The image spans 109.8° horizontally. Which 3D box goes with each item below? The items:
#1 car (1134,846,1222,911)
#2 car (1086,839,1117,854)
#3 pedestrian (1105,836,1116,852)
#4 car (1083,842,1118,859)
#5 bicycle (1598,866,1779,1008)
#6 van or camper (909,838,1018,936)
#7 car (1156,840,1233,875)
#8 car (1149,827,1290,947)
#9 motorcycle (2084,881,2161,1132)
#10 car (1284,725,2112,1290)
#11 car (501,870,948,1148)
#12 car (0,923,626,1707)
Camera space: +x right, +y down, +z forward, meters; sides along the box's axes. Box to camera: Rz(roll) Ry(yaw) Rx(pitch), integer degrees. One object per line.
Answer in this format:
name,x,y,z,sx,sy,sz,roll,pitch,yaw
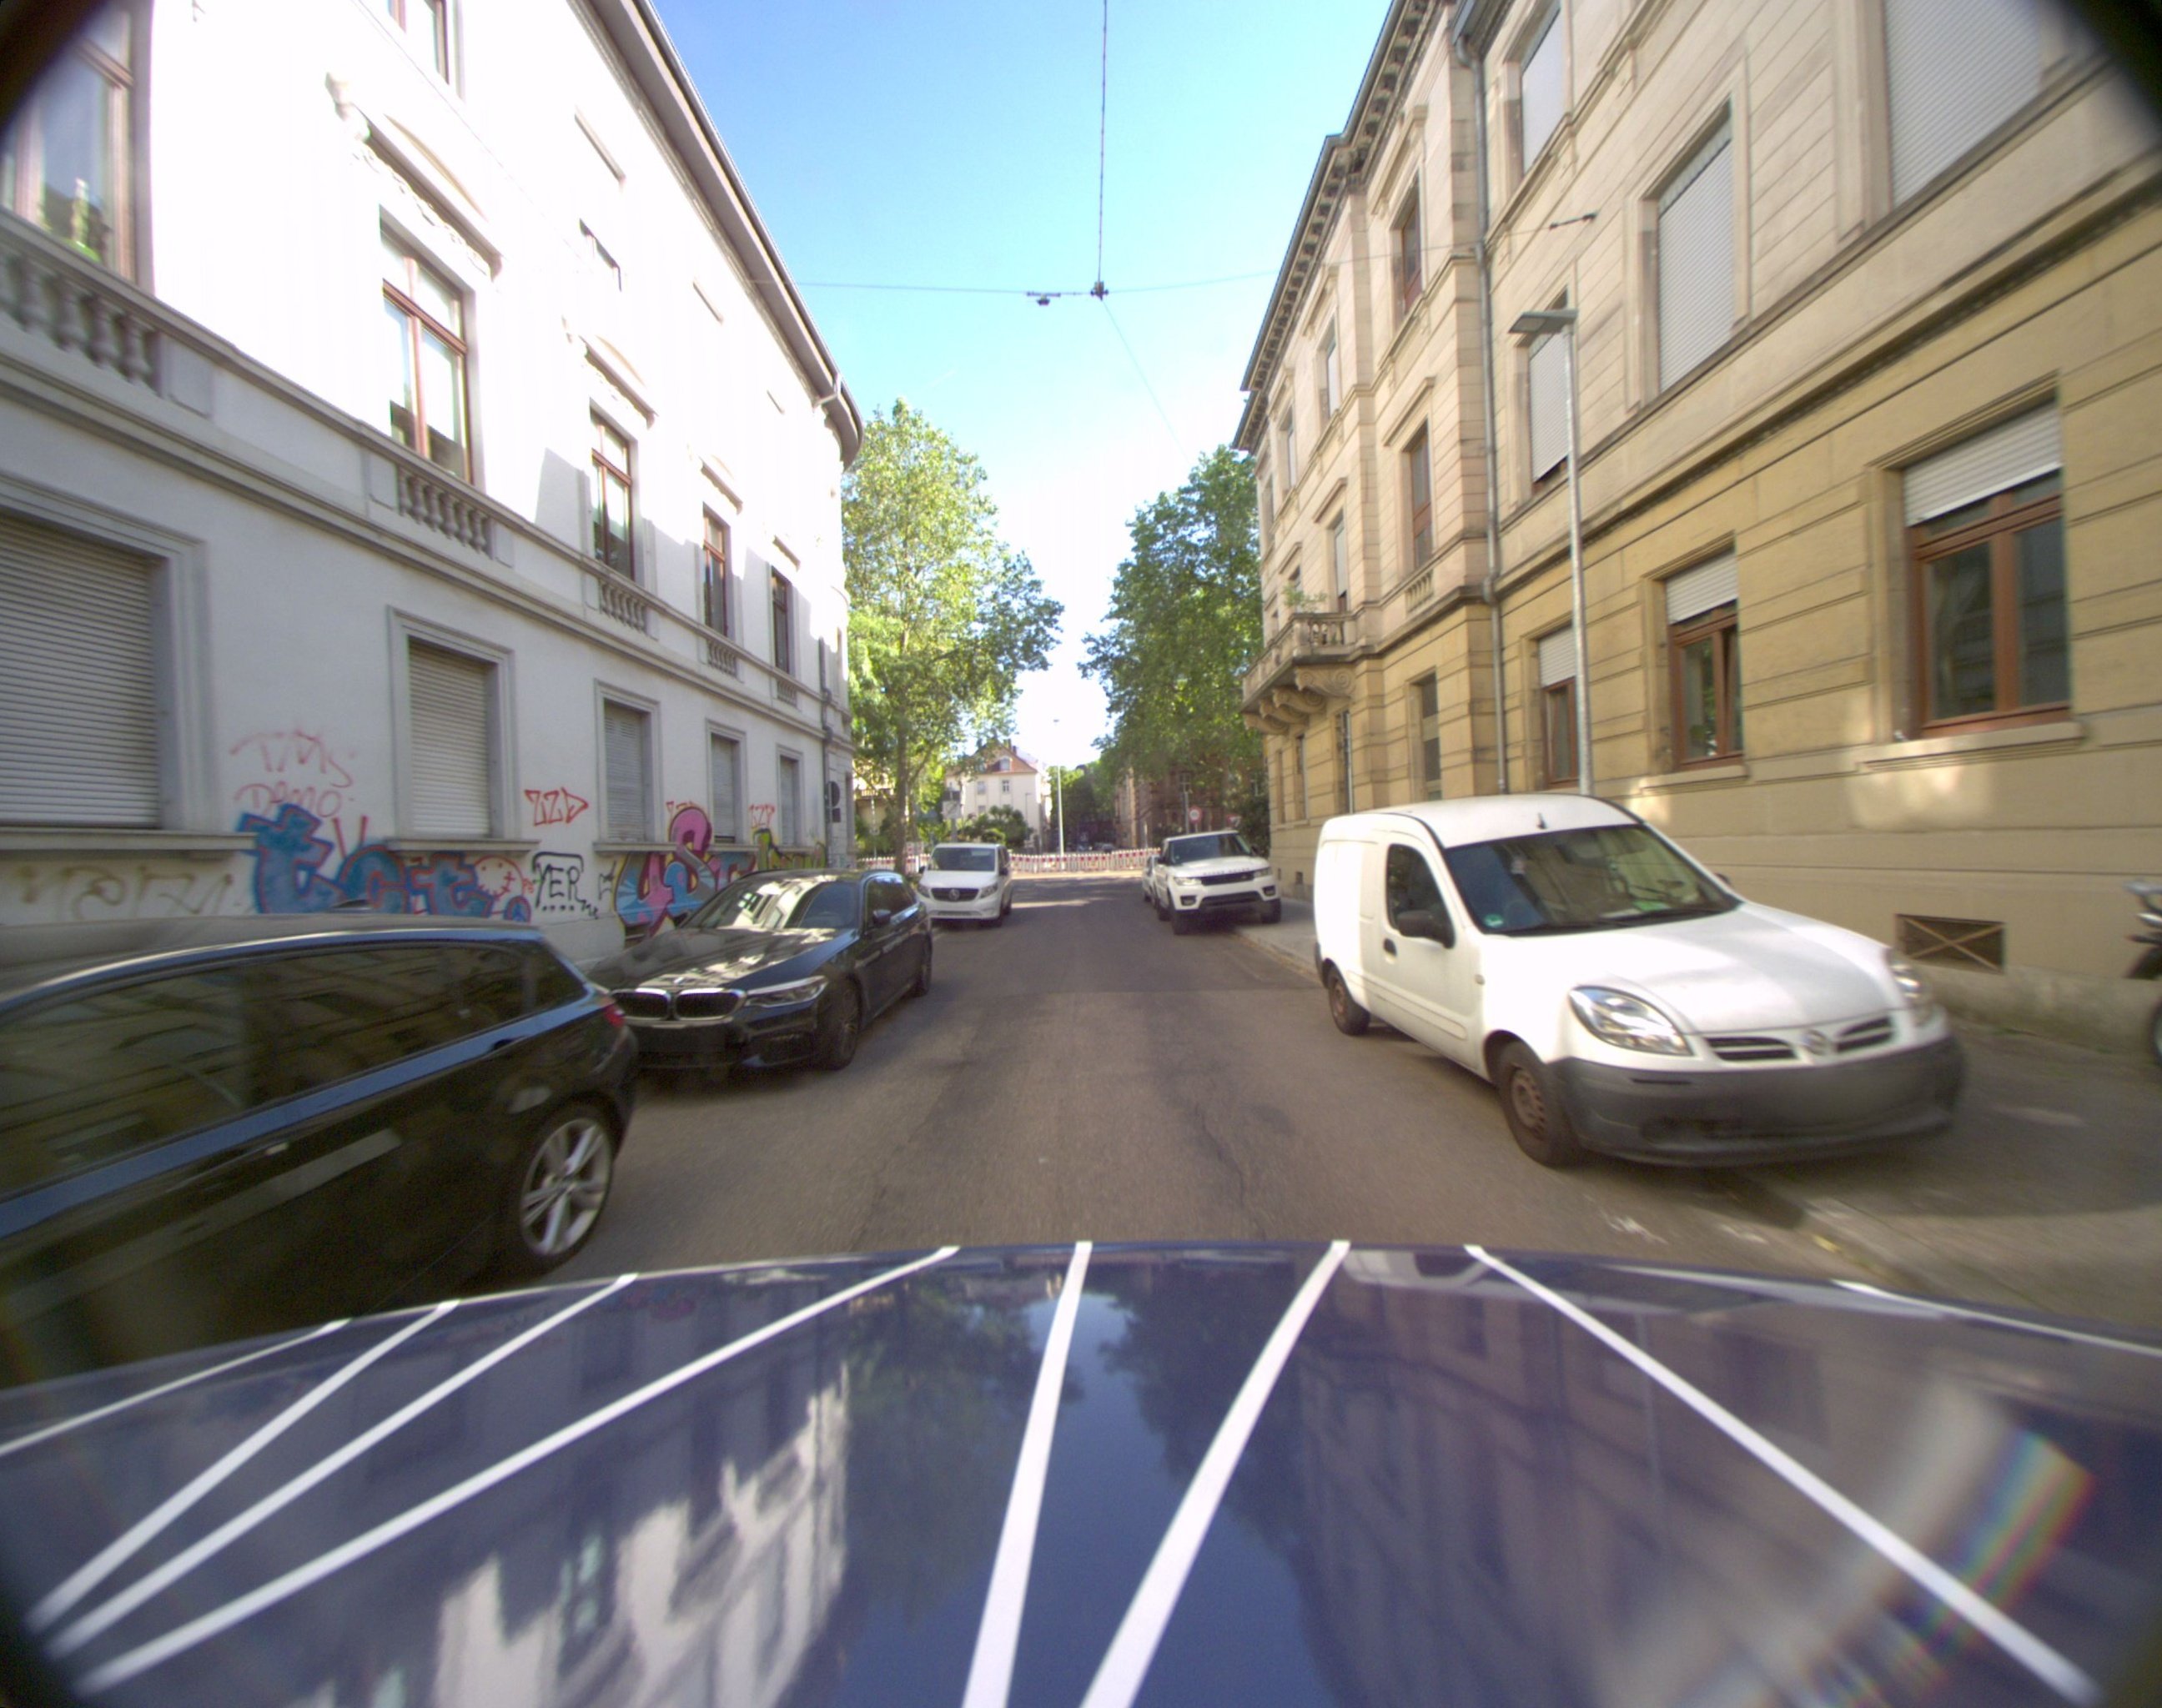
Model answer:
car,2.691,0.617,21.904,1.872,1.552,3.941,-4,1,-1
car,2.567,-0.946,95.097,3.801,1.726,1.622,-2,1,0
pedestrian,3.053,-1.055,79.022,0.761,1.651,0.826,-3,1,-27
car,2.166,-0.418,85.349,3.801,1.726,1.622,-2,1,0
bicycle,5.520,0.697,7.014,0.434,1.119,1.508,-3,1,0
van or camper,-2.691,0.685,18.572,1.899,2.002,5.030,-2,0,-1
car,5.324,0.172,35.890,3.290,1.447,1.492,-3,1,-4
car,2.612,0.545,15.439,2.027,2.002,4.542,-2,1,1
motorcycle,5.382,0.745,2.844,0.434,1.179,2.121,-3,1,0
car,2.761,0.552,4.770,1.749,1.865,4.089,-6,0,0
car,-2.637,1.018,7.112,1.819,1.511,4.727,-4,0,0
car,-2.938,1.086,1.395,1.751,1.440,3.869,-4,0,0
